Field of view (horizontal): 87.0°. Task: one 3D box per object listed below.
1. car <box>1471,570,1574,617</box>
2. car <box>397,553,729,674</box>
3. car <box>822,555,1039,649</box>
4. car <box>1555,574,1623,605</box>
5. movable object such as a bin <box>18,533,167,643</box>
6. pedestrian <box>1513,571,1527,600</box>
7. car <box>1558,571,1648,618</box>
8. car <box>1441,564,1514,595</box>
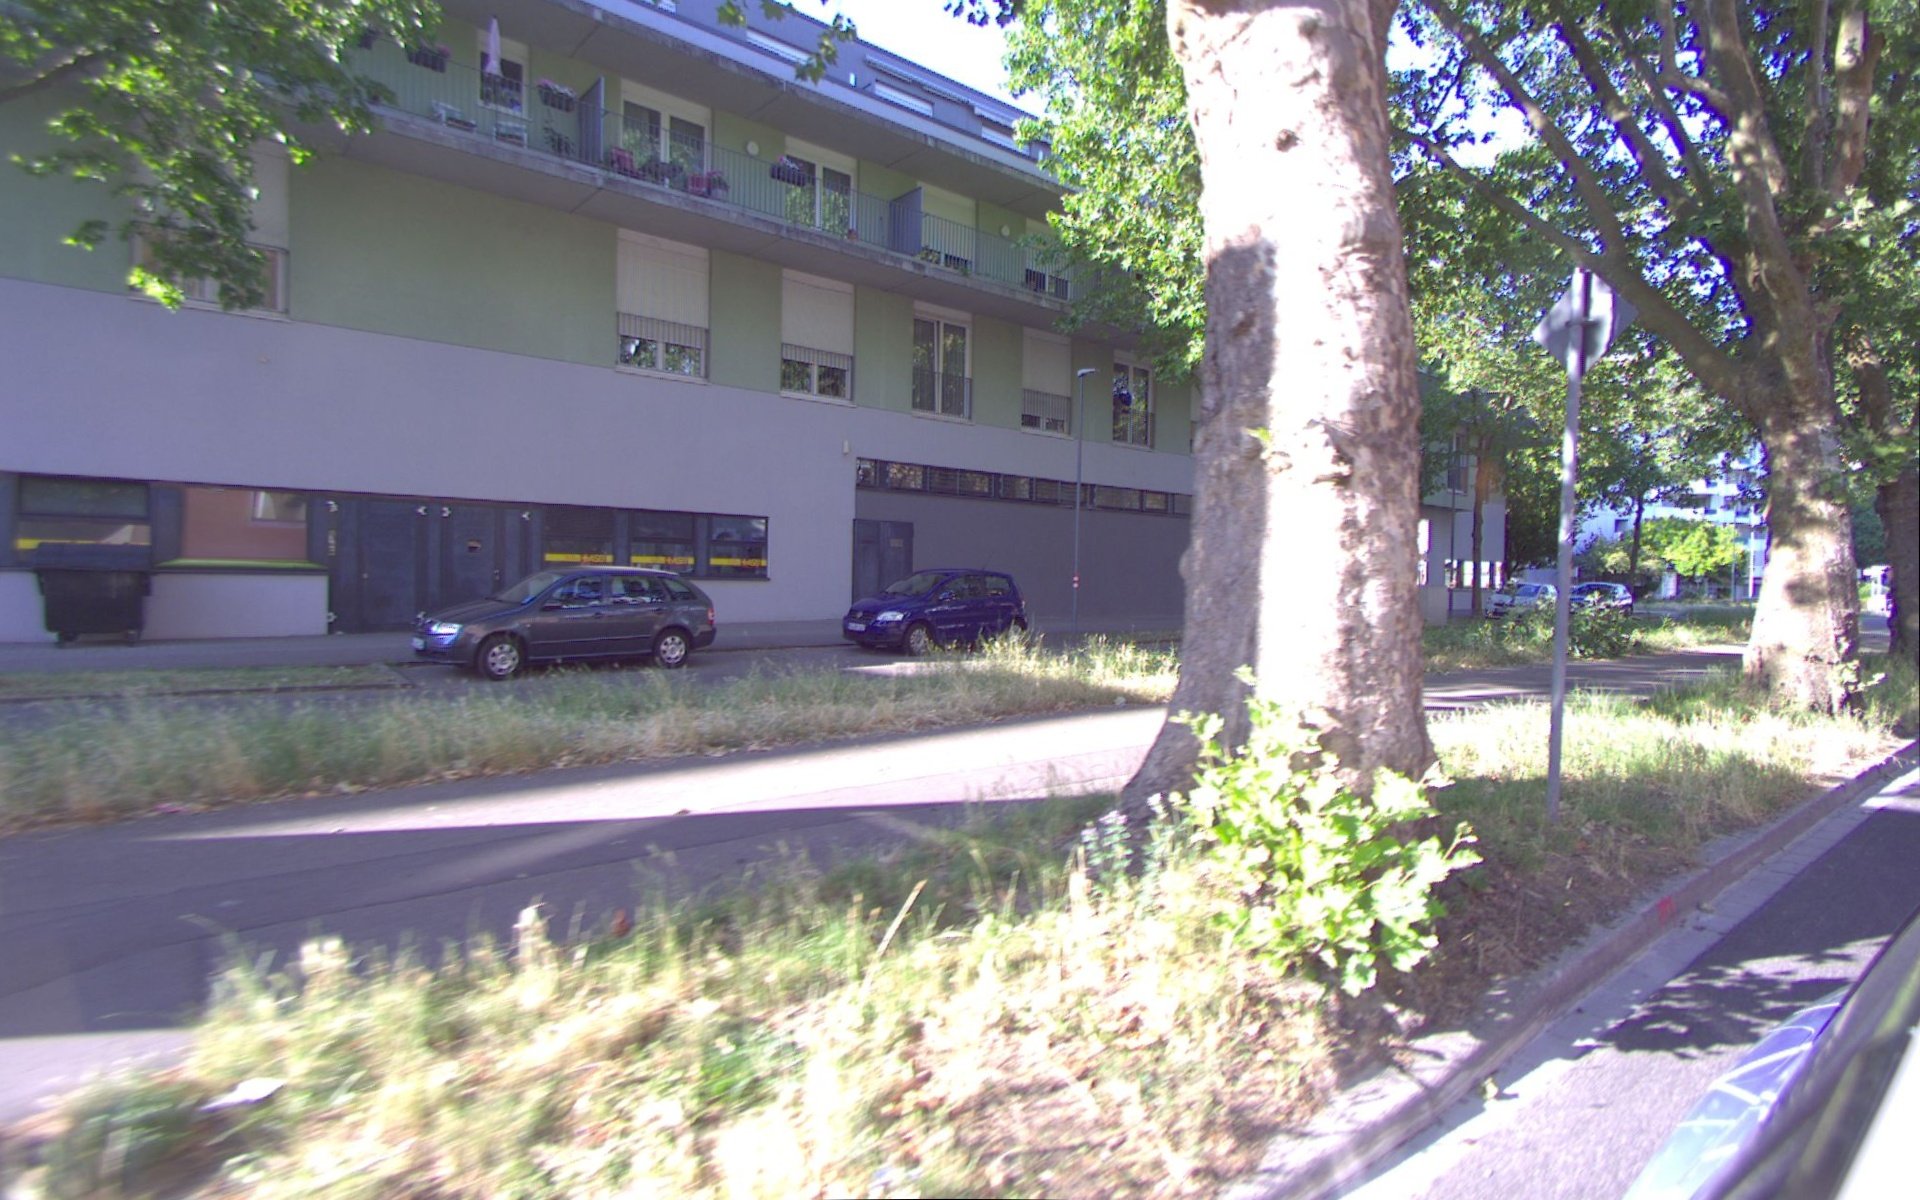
[{"bbox_3d":[20.409,-0.259,36.678,4.243,1.562,1.863,0,2,-40],"label":"car"},{"bbox_3d":[-5.584,0.126,14.505,4.053,1.487,1.862,0,2,-42],"label":"car"},{"bbox_3d":[-0.500,-0.004,18.880,3.693,1.572,1.863,0,2,-40],"label":"car"},{"bbox_3d":[37.538,-0.634,60.413,3.905,1.542,1.678,4,0,-29],"label":"car"},{"bbox_3d":[-12.344,-0.175,14.472,1.379,1.481,1.199,0,2,-29],"label":"movable object such as a bin"},{"bbox_3d":[35.294,-0.914,63.767,0.521,1.773,0.561,-1,2,-28],"label":"pedestrian"},{"bbox_3d":[26.451,-0.255,41.562,4.243,1.793,1.909,0,2,-40],"label":"car"},{"bbox_3d":[28.508,-1.125,55.761,3.483,1.473,1.679,4,0,-23],"label":"car"}]
